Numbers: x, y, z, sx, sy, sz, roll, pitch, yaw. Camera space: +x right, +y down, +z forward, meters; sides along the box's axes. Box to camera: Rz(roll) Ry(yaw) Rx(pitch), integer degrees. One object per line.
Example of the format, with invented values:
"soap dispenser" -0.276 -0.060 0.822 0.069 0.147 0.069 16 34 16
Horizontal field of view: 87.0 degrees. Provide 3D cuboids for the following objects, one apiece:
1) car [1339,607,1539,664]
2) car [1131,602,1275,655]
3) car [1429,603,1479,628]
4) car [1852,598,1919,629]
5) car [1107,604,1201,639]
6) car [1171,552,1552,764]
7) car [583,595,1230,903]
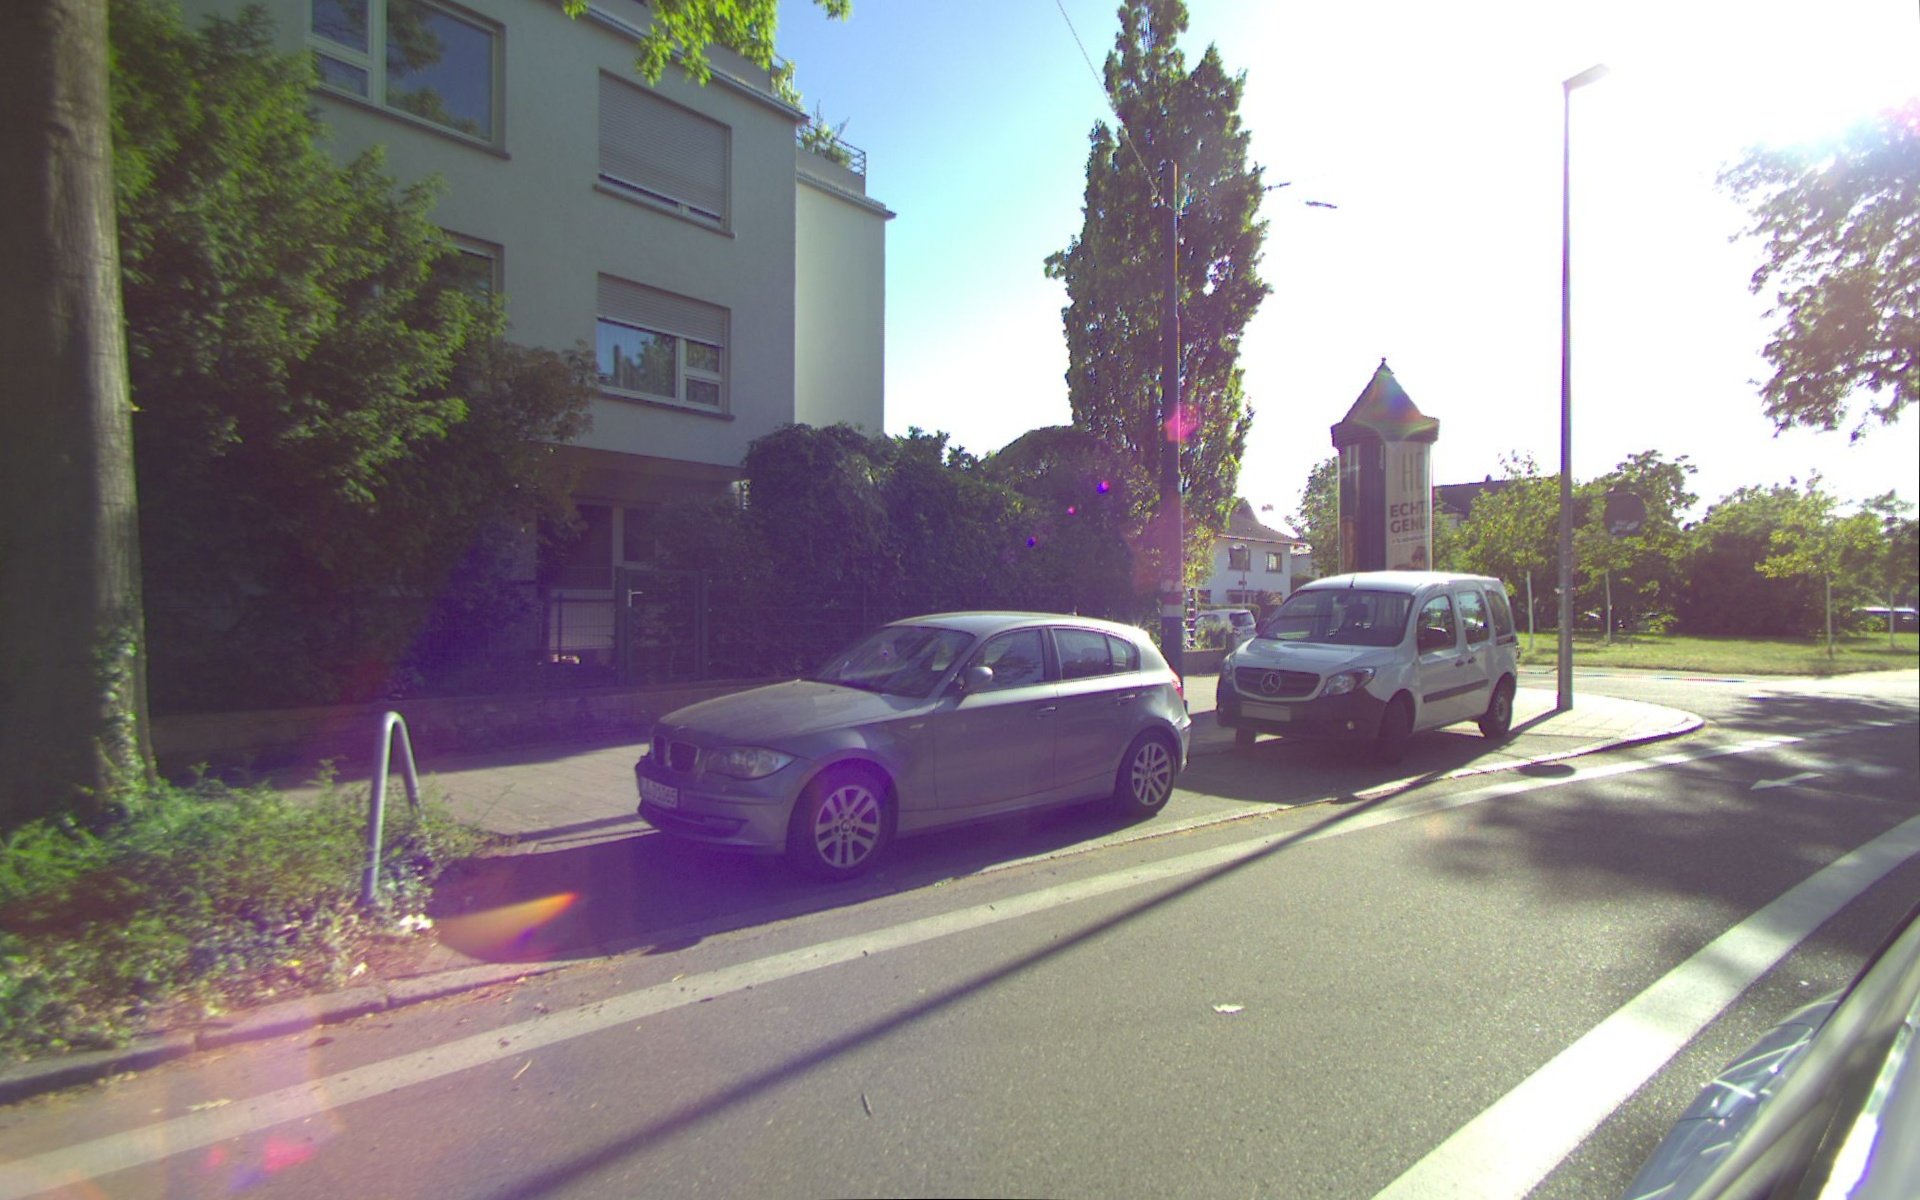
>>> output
"car" 12.867 0.903 27.366 4.511 1.387 1.937 -1 0 45
"car" 7.804 0.886 32.815 1.808 1.529 4.289 -3 1 -39
"car" 36.910 1.141 75.599 3.931 1.819 1.996 0 0 -41
"car" 59.549 0.824 63.566 5.196 1.909 2.066 -2 -1 45
"car" 8.872 0.930 46.089 2.057 1.489 4.682 -1 0 43
"car" 4.439 0.489 10.776 4.672 1.769 2.024 0 0 -44
"car" -0.129 0.702 7.042 4.261 1.441 1.995 -1 0 -44
